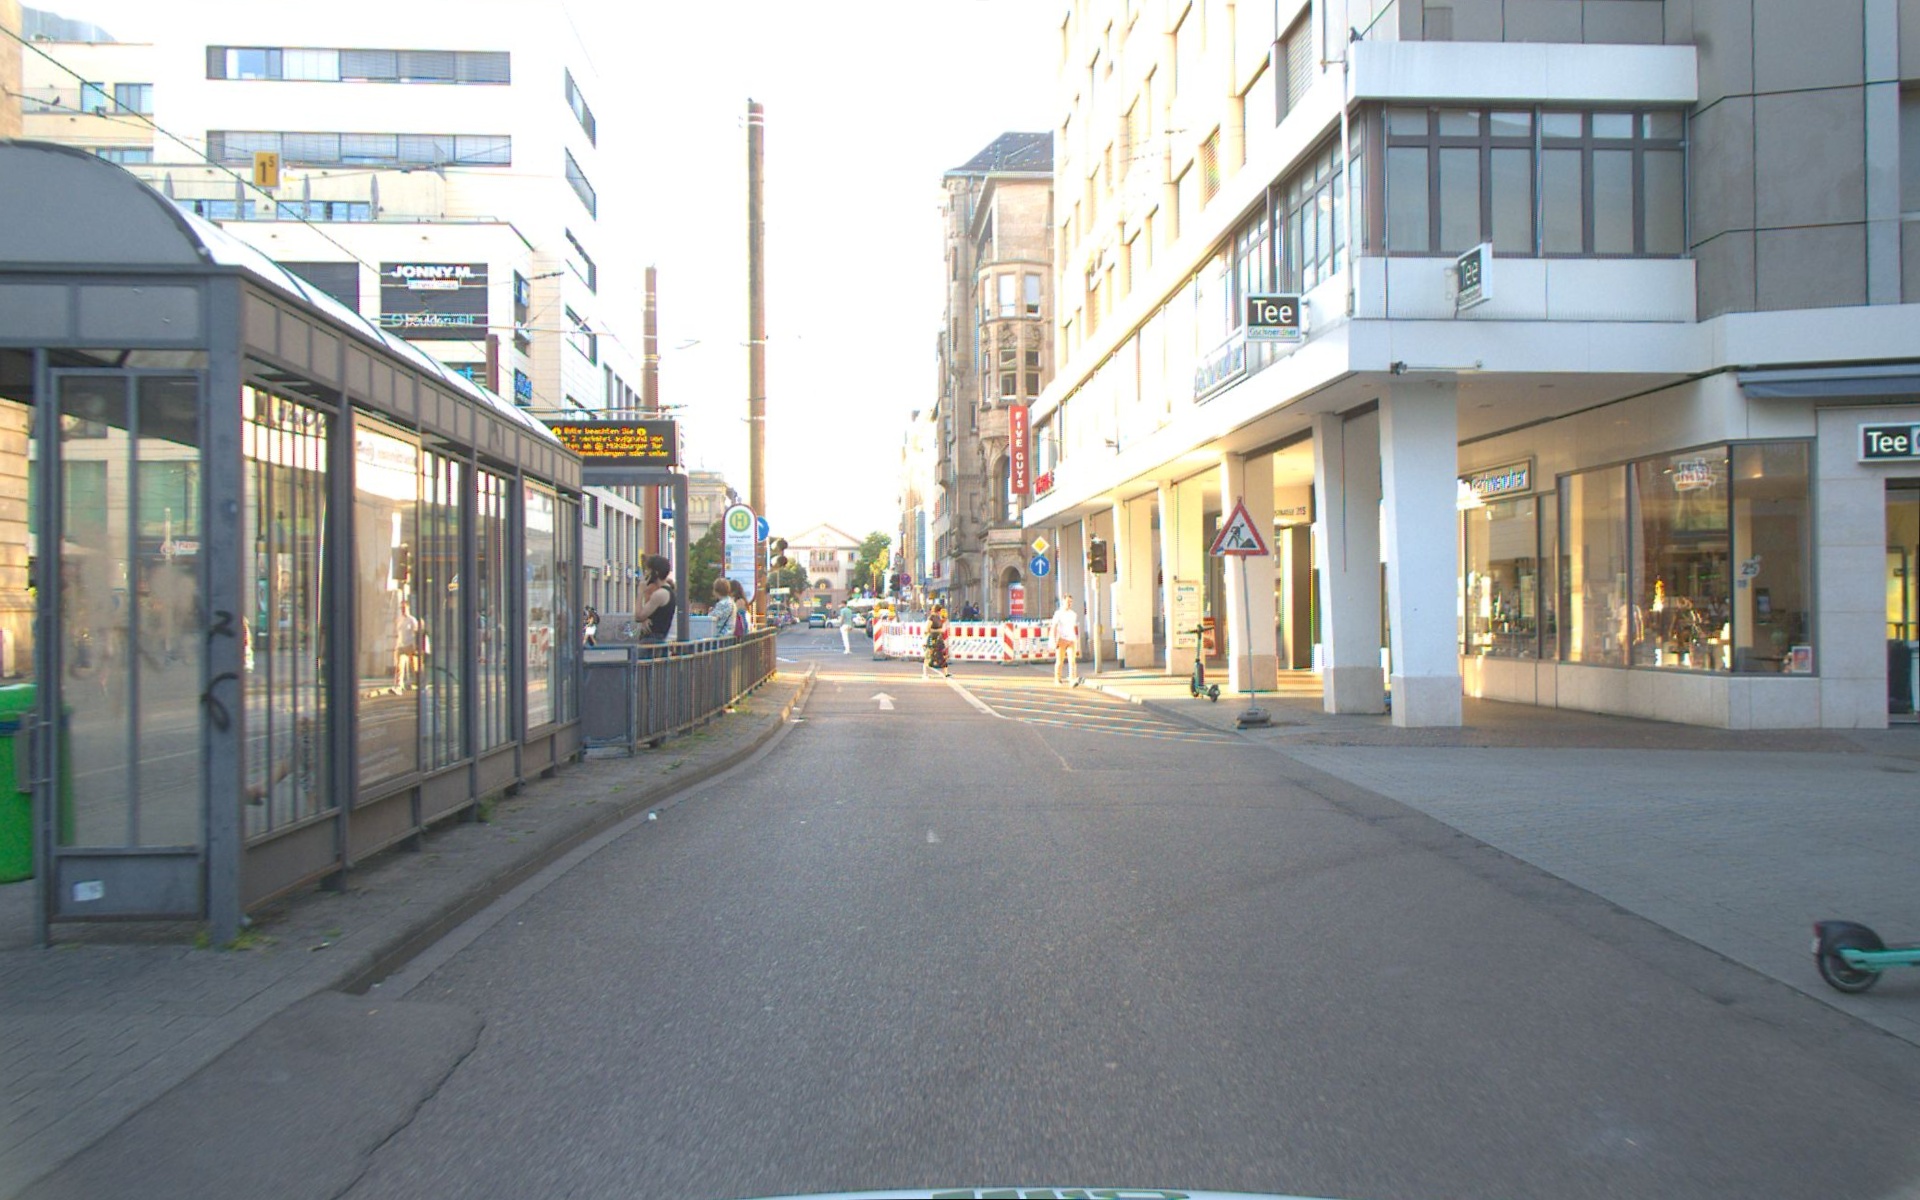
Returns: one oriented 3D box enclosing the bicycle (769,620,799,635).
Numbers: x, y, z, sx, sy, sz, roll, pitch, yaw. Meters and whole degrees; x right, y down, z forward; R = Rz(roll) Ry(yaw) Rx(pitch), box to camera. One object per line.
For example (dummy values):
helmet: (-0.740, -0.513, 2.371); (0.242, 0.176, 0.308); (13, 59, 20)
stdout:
bicycle: (-13.050, 2.031, 122.651); (2.105, 1.047, 0.640); (-1, -1, -3)

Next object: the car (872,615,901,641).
car: (-4.598, 1.761, 103.671); (1.646, 1.574, 3.669); (-2, -1, -5)

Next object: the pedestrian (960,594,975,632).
pedestrian: (0.346, 0.609, 75.232); (0.613, 1.719, 0.670); (-1, -1, -6)

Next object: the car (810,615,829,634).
car: (-15.217, 2.670, 179.426); (1.954, 1.937, 3.996); (1, -1, -4)

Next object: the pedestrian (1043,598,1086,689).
pedestrian: (2.146, 0.898, 34.085); (0.686, 1.847, 0.850); (1, -1, -10)

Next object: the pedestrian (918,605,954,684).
pedestrian: (-0.526, 0.979, 36.612); (0.687, 1.723, 0.539); (1, -1, -11)

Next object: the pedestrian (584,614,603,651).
pedestrian: (-17.724, 1.552, 79.979); (0.767, 1.782, 0.599); (1, -1, -7)

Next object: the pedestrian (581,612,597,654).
pedestrian: (-15.240, 1.361, 67.918); (0.518, 1.703, 0.650); (0, -1, -3)

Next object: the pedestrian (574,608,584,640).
pedestrian: (-18.277, 1.163, 79.275); (0.382, 1.541, 0.505); (0, -1, -5)

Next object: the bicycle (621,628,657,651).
bicycle: (-15.750, 1.936, 81.133); (1.662, 1.141, 0.450); (1, -1, -2)

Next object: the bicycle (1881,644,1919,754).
bicycle: (9.745, 0.988, 15.863); (0.753, 1.046, 1.846); (1, 1, -1)

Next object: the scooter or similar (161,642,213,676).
scooter or similar: (-21.662, 1.640, 46.365); (1.071, 0.920, 0.890); (0, -1, -3)

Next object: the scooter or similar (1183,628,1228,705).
scooter or similar: (4.116, 1.100, 27.762); (0.495, 1.256, 1.178); (0, -1, -4)

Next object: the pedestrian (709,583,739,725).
pedestrian: (-3.091, 0.702, 21.682); (0.335, 1.827, 0.544); (1, -1, -6)

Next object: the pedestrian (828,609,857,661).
pedestrian: (-4.145, 1.234, 58.397); (0.847, 1.792, 0.768); (1, -1, 8)

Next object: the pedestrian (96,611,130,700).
pedestrian: (-14.948, 0.968, 29.194); (0.519, 1.552, 0.498); (0, -1, -27)

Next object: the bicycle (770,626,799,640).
bicycle: (-13.112, 2.464, 123.285); (2.105, 1.047, 0.640); (-1, -1, -3)

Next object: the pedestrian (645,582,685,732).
pedestrian: (-3.354, 0.645, 18.838); (0.378, 1.671, 0.549); (1, -1, -6)

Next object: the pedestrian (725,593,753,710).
pedestrian: (-3.202, 0.743, 23.964); (0.350, 1.671, 0.502); (1, -1, -6)

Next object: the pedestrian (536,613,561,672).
pedestrian: (-12.322, 1.265, 49.534); (0.731, 1.730, 0.608); (0, -1, -15)

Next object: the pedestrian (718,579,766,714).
pedestrian: (-2.940, 0.622, 22.377); (0.528, 1.798, 0.594); (1, -1, 1)

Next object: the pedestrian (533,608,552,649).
pedestrian: (-19.559, 1.340, 77.420); (0.560, 1.887, 0.817); (1, -1, 8)

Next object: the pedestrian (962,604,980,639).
pedestrian: (0.519, 1.001, 78.214); (0.697, 1.639, 0.821); (1, -1, -7)

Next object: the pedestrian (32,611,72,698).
pedestrian: (-16.310, 0.973, 29.713); (0.491, 1.552, 0.518); (0, -1, -12)

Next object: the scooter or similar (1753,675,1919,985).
scooter or similar: (4.017, 0.951, 6.944); (1.150, 1.256, 0.316); (-2, -1, 12)

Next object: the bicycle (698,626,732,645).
bicycle: (-14.531, 2.109, 97.997); (1.949, 1.141, 0.552); (2, -2, -34)

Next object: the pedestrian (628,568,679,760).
pedestrian: (-2.937, 0.609, 15.878); (0.404, 1.798, 0.593); (1, -1, -6)
